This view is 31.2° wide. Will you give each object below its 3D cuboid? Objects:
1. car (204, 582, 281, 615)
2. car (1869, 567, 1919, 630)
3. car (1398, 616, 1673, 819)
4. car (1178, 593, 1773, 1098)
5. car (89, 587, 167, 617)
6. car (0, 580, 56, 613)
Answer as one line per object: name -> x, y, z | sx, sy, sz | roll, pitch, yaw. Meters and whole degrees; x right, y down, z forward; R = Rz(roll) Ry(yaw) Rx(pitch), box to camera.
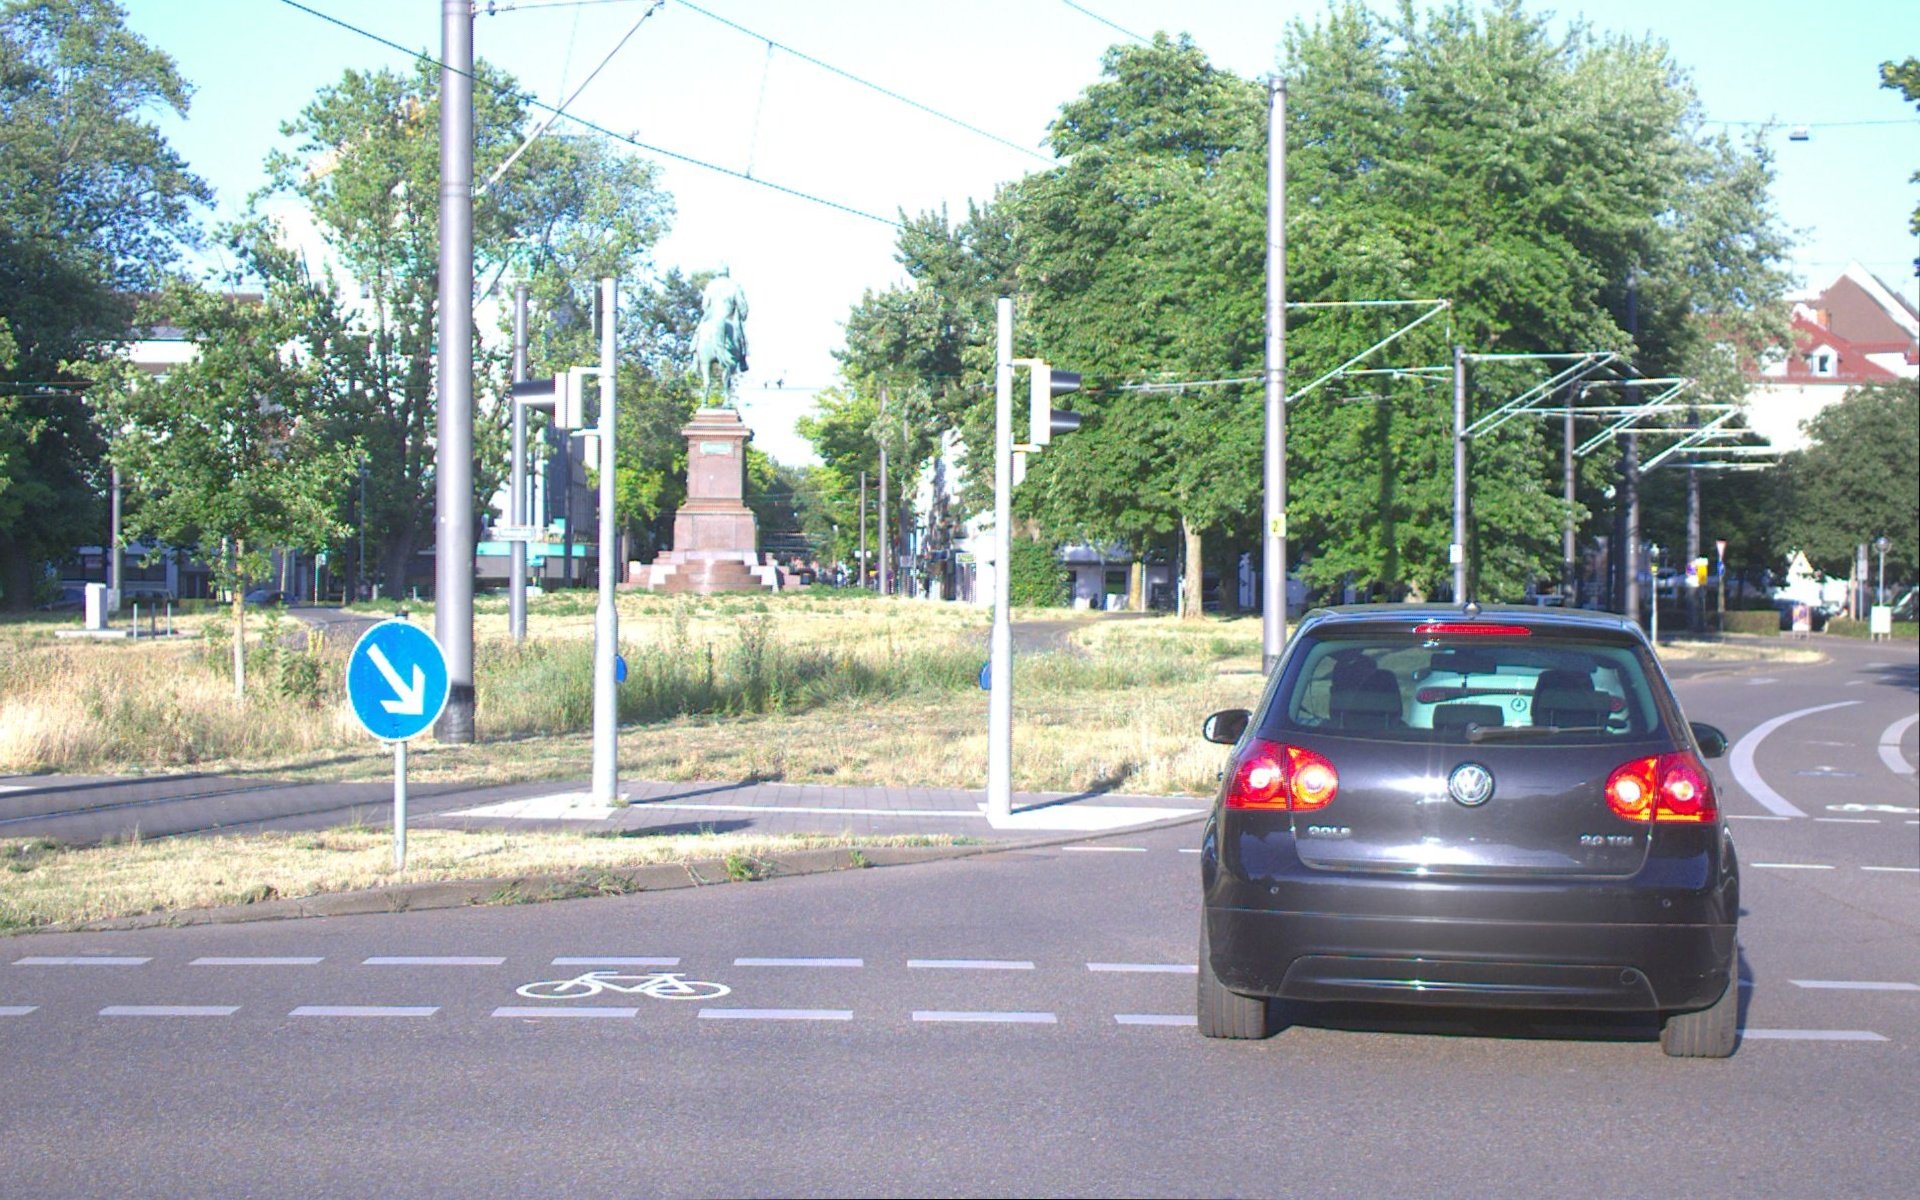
car -> -33.435, -0.066, 160.246 | 3.338, 1.502, 1.659 | 1, 0, -5
car -> 41.192, -0.014, 144.054 | 5.510, 2.586, 2.155 | 1, 0, -5
car -> 4.732, 0.885, 27.848 | 1.866, 1.436, 4.194 | 1, 1, 14
car -> 1.900, 0.728, 12.428 | 1.748, 1.456, 4.101 | 1, 0, 10
car -> -38.684, 0.100, 159.903 | 3.338, 1.356, 1.520 | 1, 0, -5
car -> -41.860, -0.158, 151.941 | 3.501, 1.444, 1.520 | 1, 0, -5
